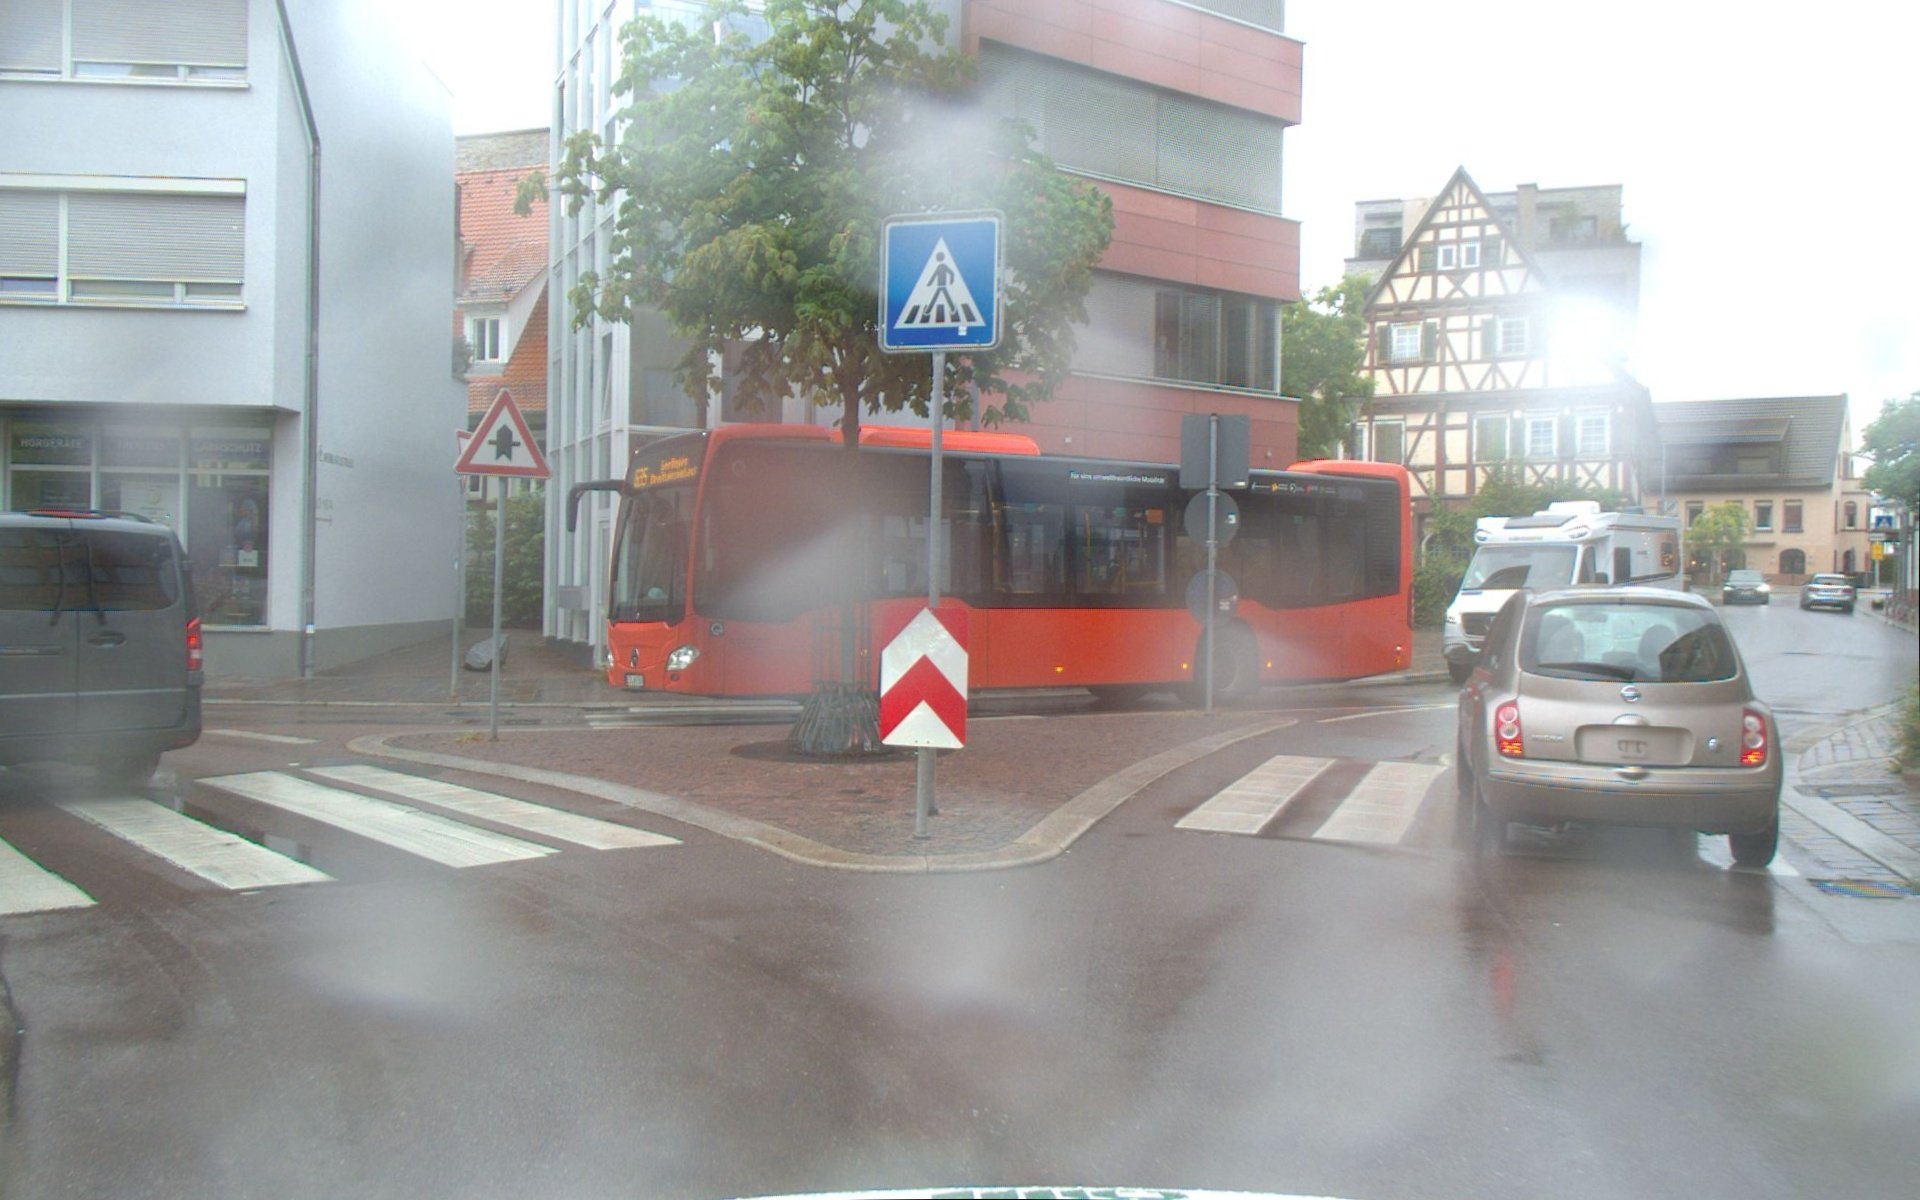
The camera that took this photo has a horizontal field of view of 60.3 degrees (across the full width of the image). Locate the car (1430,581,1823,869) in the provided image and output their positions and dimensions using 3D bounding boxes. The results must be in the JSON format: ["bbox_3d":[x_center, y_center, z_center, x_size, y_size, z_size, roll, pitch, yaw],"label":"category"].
[{"bbox_3d":[3.989,0.637,10.418,1.490,1.496,3.344,0,1,7],"label":"car"}]

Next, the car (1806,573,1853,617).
[{"bbox_3d":[35.178,-0.202,66.913,1.642,1.742,3.316,1,0,28],"label":"car"}]

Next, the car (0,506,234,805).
[{"bbox_3d":[-7.346,0.264,11.856,4.635,1.812,1.945,2,2,38],"label":"car"}]

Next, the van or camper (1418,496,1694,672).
[{"bbox_3d":[10.276,-0.288,28.087,2.399,2.630,6.719,1,1,38],"label":"van or camper"}]

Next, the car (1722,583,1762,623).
[{"bbox_3d":[35.204,0.126,74.466,1.555,1.742,3.318,1,0,25],"label":"car"}]

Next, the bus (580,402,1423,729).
[{"bbox_3d":[0.939,-0.448,19.951,10.475,3.142,2.790,-1,1,-33],"label":"bus"}]
